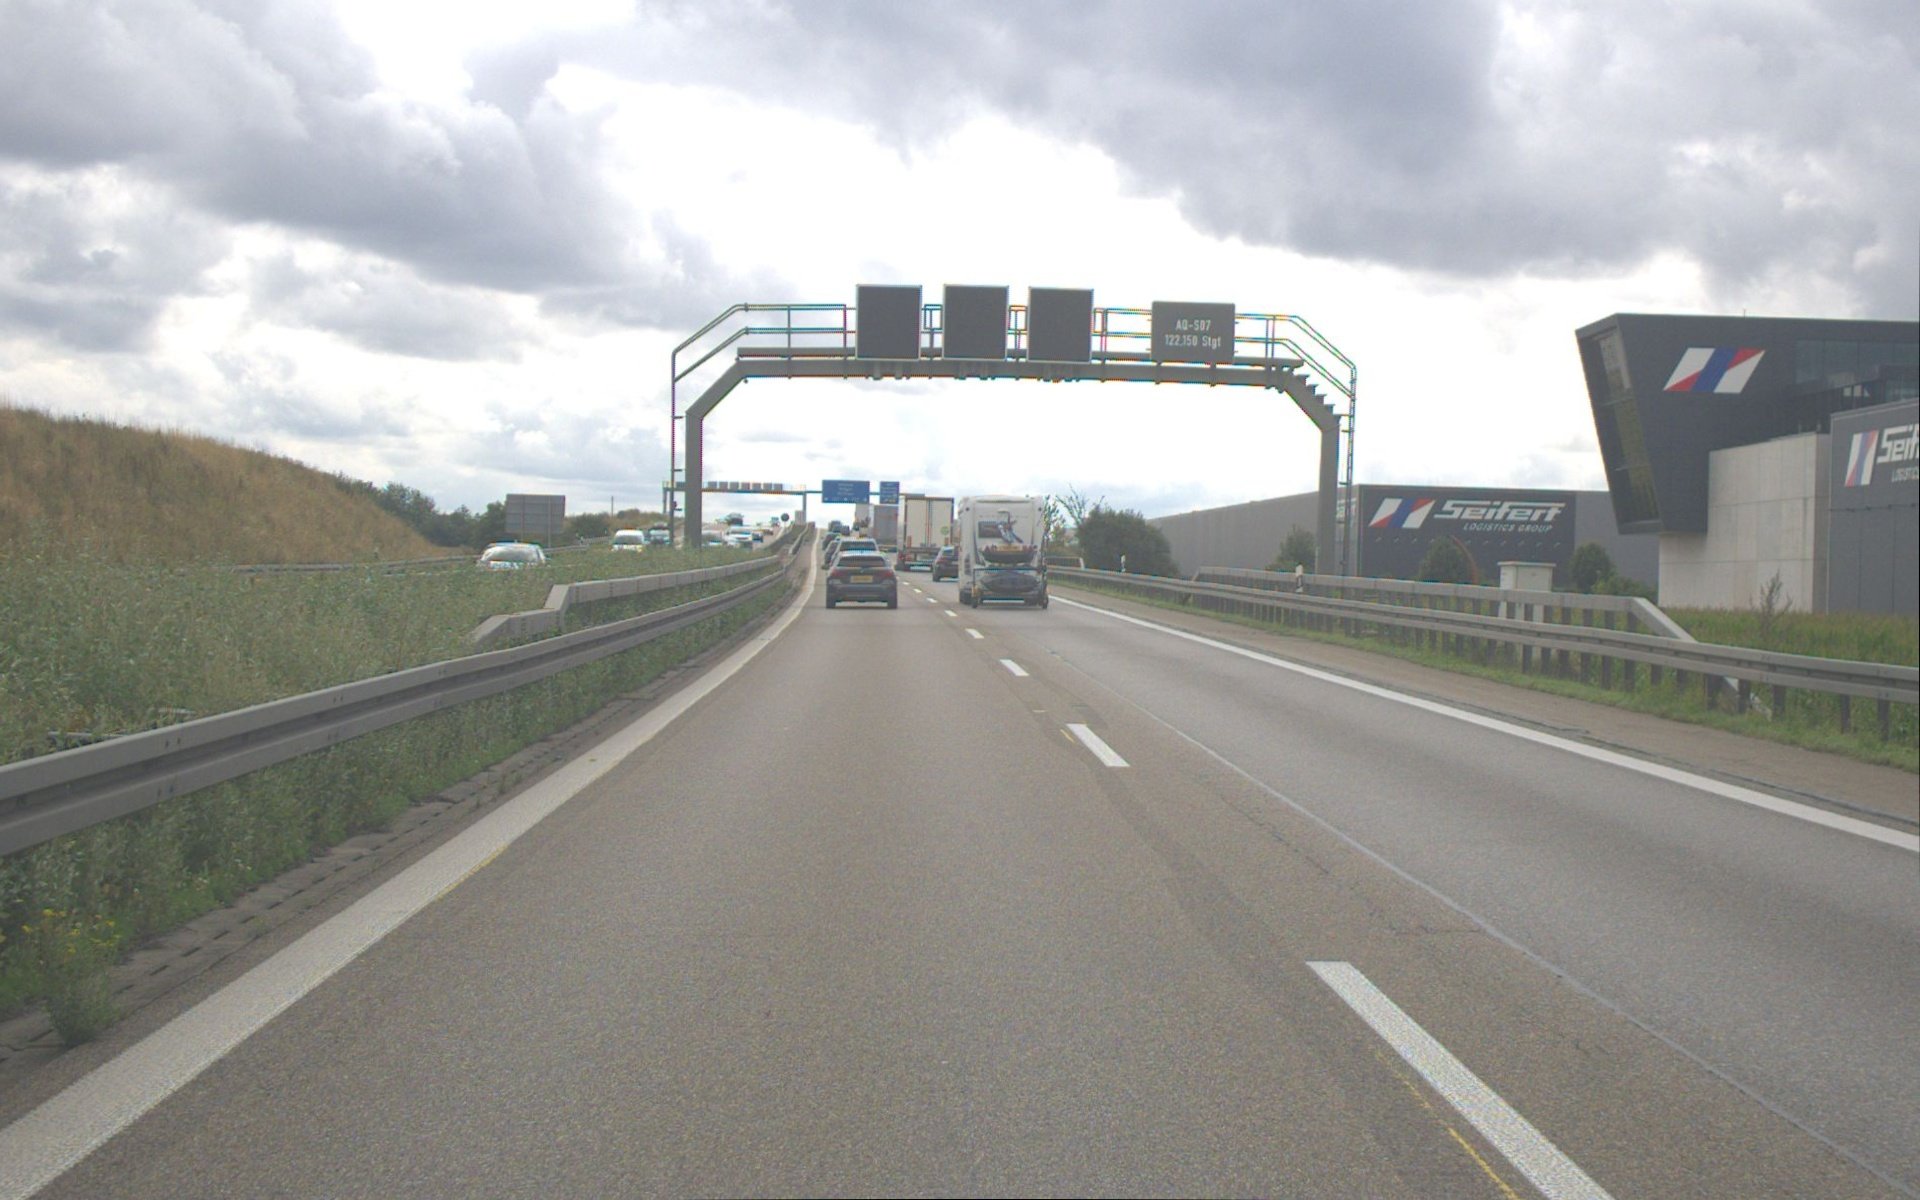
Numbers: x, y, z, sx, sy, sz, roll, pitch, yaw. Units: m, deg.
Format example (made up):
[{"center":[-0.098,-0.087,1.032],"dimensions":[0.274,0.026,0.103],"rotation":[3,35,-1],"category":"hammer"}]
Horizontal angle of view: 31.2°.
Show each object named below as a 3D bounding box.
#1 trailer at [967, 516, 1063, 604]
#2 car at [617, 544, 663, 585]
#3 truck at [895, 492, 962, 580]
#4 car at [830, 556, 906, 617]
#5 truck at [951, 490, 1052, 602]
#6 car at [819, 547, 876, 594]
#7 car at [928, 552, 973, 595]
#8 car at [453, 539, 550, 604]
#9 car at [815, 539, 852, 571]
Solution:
[{"center":[1.378,-0.994,87.290],"dimensions":[2.338,2.129,4.000],"rotation":[1,0,0],"category":"trailer"},{"center":[-16.396,-1.830,176.396],"dimensions":[1.993,2.007,4.708],"rotation":[1,1,-1],"category":"car"},{"center":[-1.728,-3.400,185.138],"dimensions":[3.339,4.519,8.018],"rotation":[1,0,-2],"category":"truck"},{"center":[-2.313,-0.347,86.991],"dimensions":[1.746,1.448,4.000],"rotation":[1,0,1],"category":"car"},{"center":[1.093,-1.459,94.495],"dimensions":[2.482,2.940,5.815],"rotation":[1,0,-2],"category":"truck"},{"center":[-4.169,-1.076,128.124],"dimensions":[1.945,1.679,4.000],"rotation":[1,0,0],"category":"car"},{"center":[-0.386,-1.084,141.312],"dimensions":[1.801,1.679,4.000],"rotation":[1,0,0],"category":"car"},{"center":[-11.230,-0.711,84.398],"dimensions":[1.869,1.516,4.000],"rotation":[1,1,-1],"category":"car"},{"center":[-7.405,-2.635,201.611],"dimensions":[1.943,1.769,3.696],"rotation":[1,0,0],"category":"car"}]
